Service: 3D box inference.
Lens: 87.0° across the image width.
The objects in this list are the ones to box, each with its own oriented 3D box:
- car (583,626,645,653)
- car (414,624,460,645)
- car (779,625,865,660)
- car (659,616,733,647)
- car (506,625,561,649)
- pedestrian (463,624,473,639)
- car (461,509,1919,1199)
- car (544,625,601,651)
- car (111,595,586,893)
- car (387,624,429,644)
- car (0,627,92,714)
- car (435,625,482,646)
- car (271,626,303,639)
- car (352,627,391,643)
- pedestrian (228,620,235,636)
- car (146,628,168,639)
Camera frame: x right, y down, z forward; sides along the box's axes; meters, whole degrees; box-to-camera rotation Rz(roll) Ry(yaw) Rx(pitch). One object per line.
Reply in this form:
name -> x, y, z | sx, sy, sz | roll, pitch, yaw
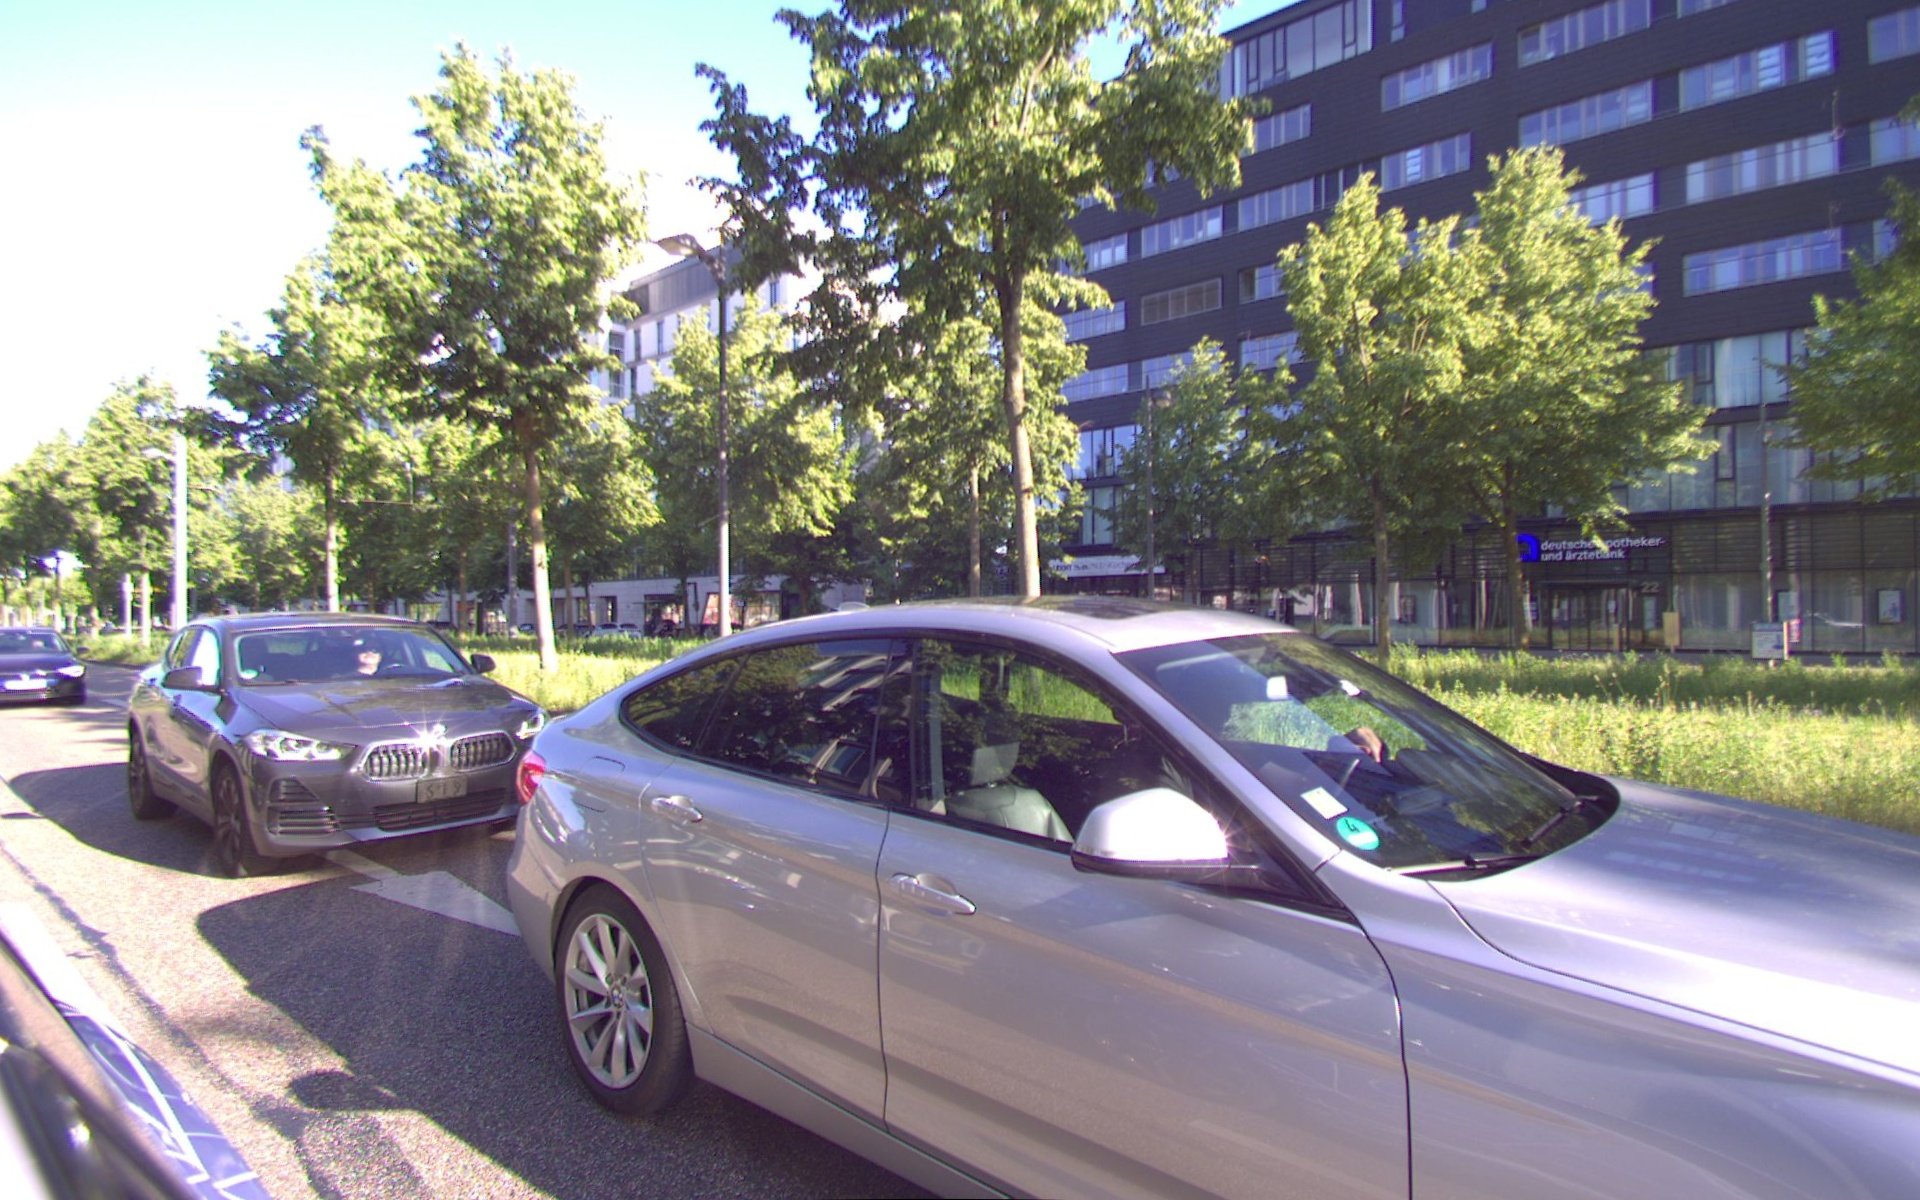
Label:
car -> -21.631, 2.454, 63.205 | 4.182, 1.609, 1.859 | -2, -1, 41
car -> -42.131, 2.767, 81.495 | 4.182, 1.609, 1.859 | -2, -1, 41
car -> -6.769, 2.067, 49.400 | 4.182, 1.609, 1.926 | -2, -1, 41
car -> -14.529, 1.711, 55.561 | 4.182, 1.609, 1.926 | -2, -1, 41
car -> -29.729, 2.578, 70.481 | 4.182, 1.609, 1.859 | -2, -1, 41
pedestrian -> -44.828, 2.823, 92.161 | 0.660, 1.349, 0.597 | -2, -1, 41
car -> 0.631, 0.679, 2.612 | 4.558, 1.495, 1.800 | -1, -1, 40
car -> -25.700, 2.513, 67.069 | 4.182, 1.609, 1.859 | -2, -1, 41
car -> -4.481, 0.768, 7.155 | 4.000, 1.502, 1.836 | -1, -1, 43
car -> -46.586, 2.837, 85.392 | 4.182, 1.609, 1.859 | -2, -1, 41
car -> -17.458, 1.222, 18.562 | 4.344, 1.434, 1.854 | -1, -1, 43
car -> -38.669, 2.722, 77.988 | 4.182, 1.609, 1.859 | -2, -1, 41
car -> -72.529, 3.480, 109.080 | 3.998, 1.406, 1.972 | -2, -2, 42
car -> -52.315, 3.101, 89.980 | 4.001, 1.406, 1.971 | -2, -2, 44
pedestrian -> -91.058, 3.476, 126.531 | 0.619, 2.029, 0.577 | -2, -1, 41
car -> -114.620, 4.788, 144.517 | 4.001, 1.406, 1.971 | -2, -2, 44
